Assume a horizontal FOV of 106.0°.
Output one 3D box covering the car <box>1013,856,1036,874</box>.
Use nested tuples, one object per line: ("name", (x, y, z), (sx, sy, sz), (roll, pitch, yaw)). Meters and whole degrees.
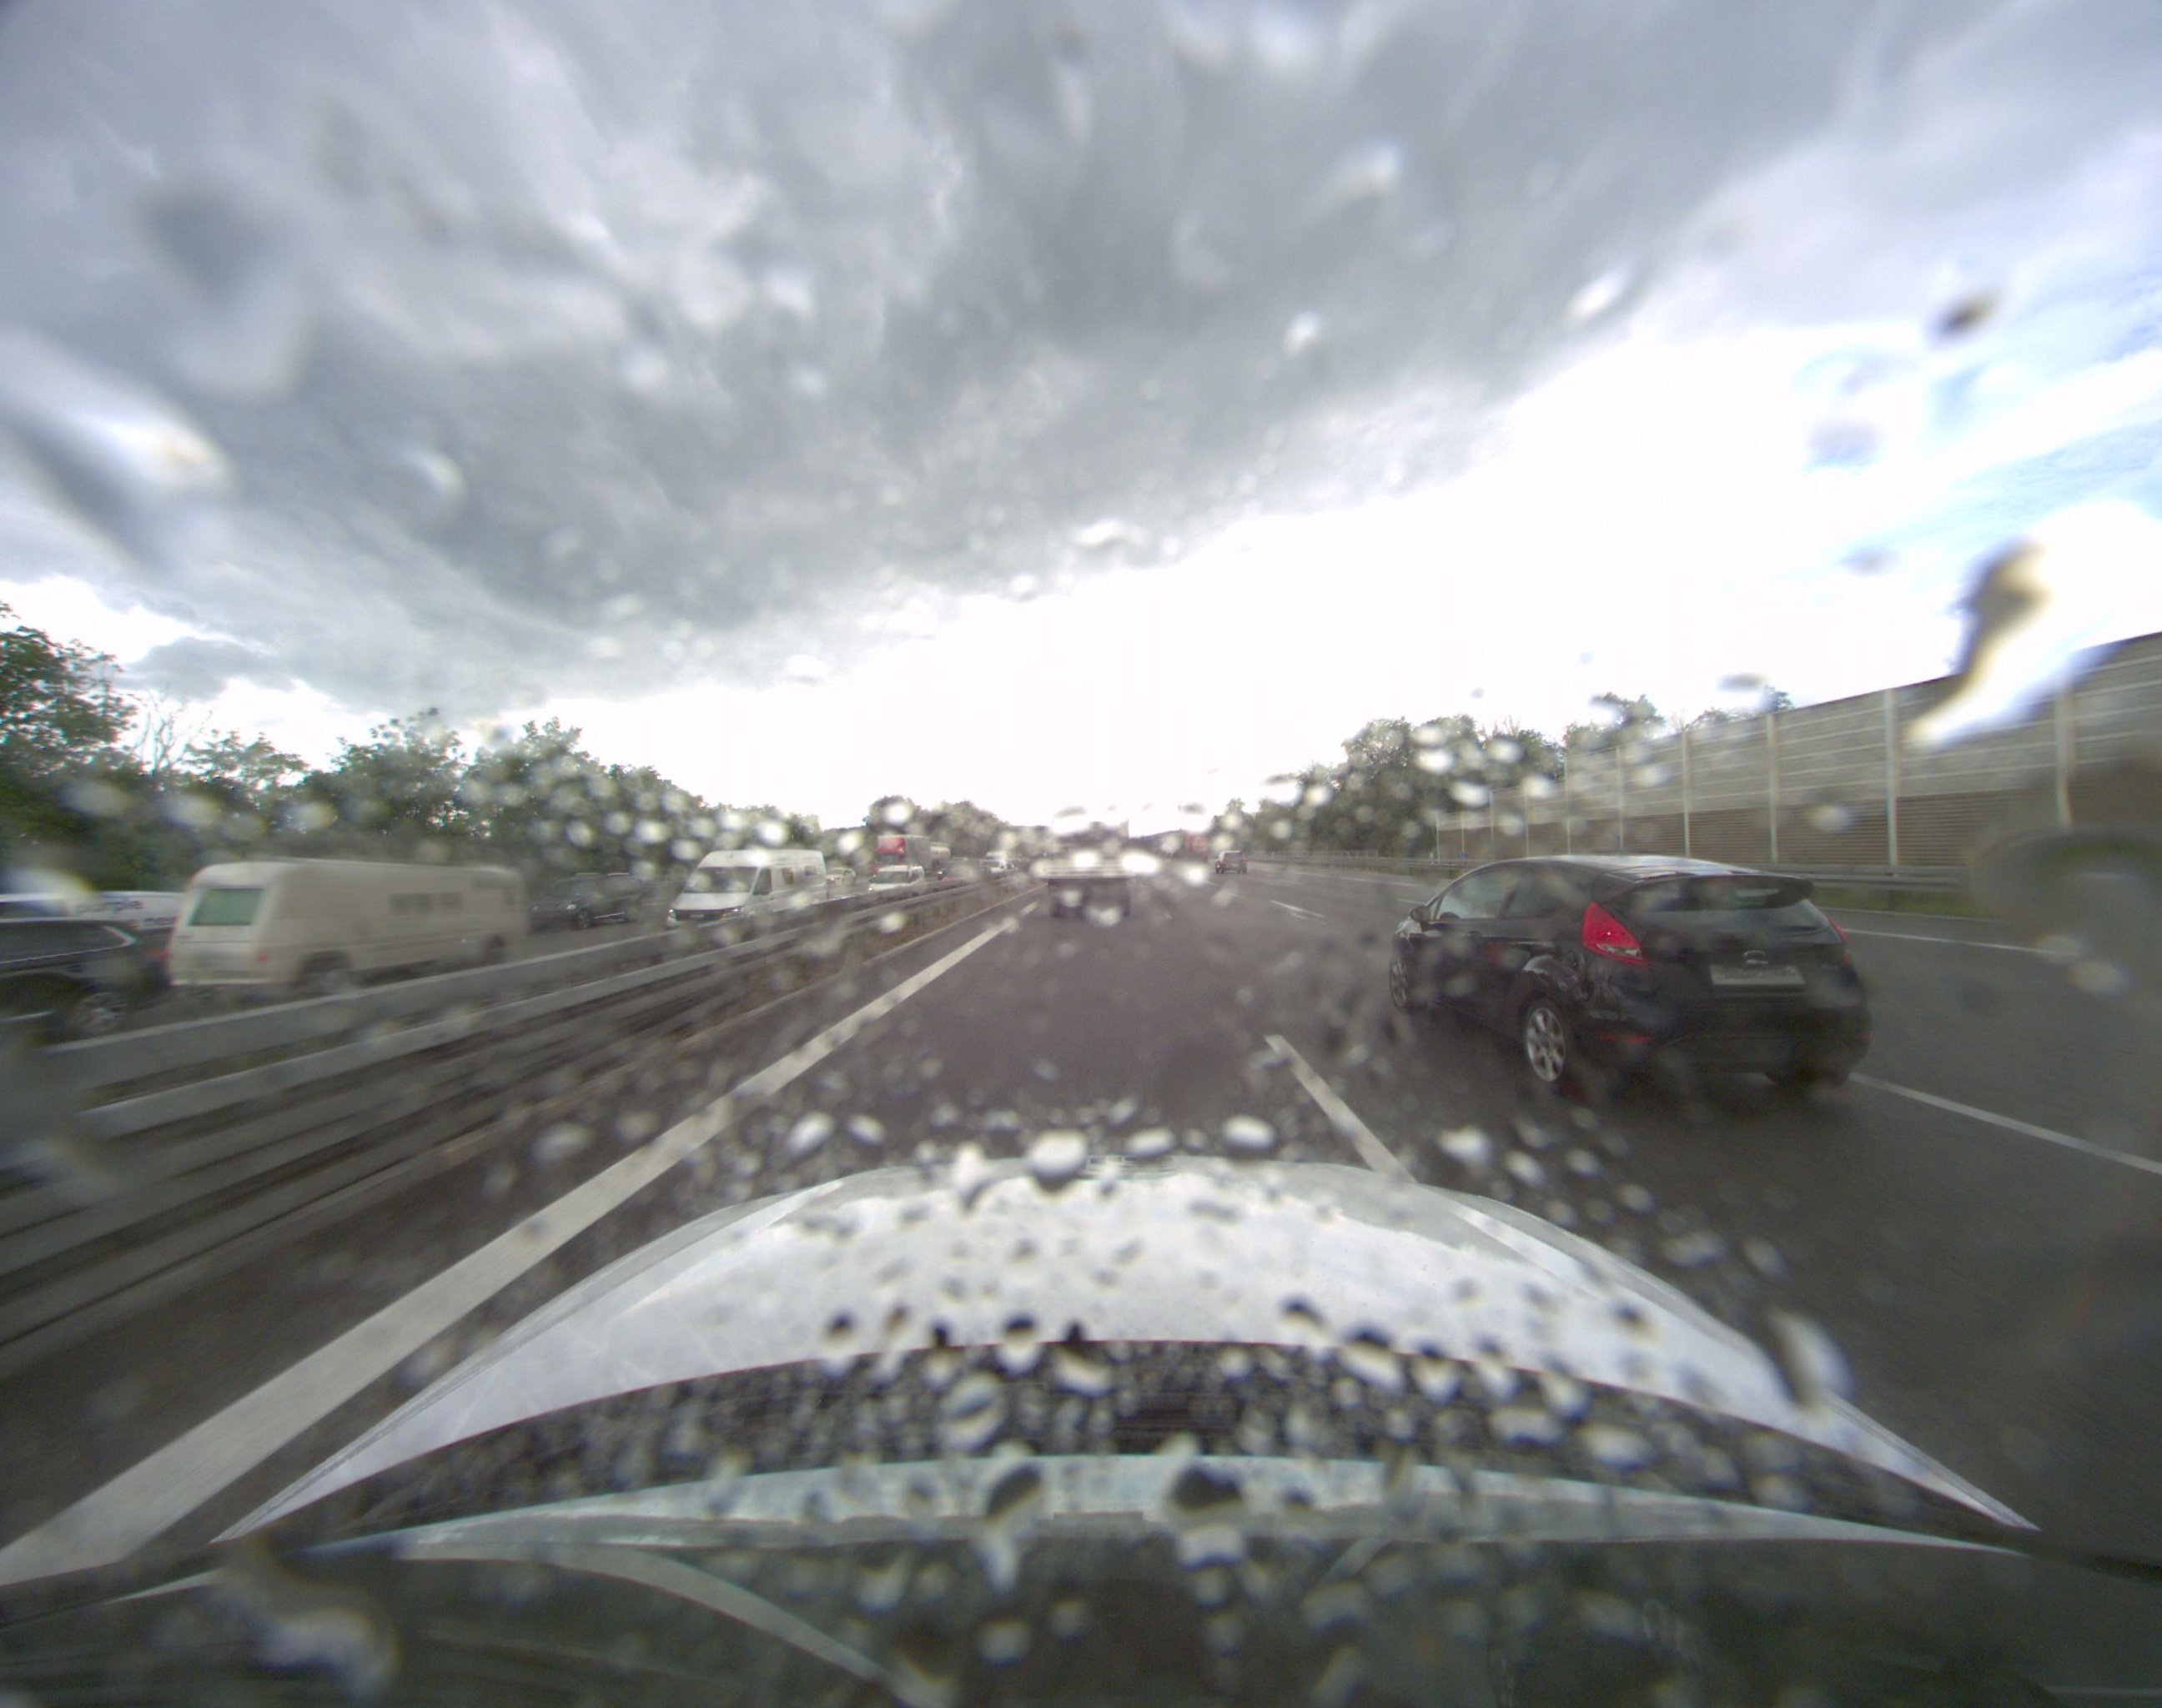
("car", (-6.102, 1.212, 88.561), (1.887, 1.800, 5.572), (-2, 0, 2))

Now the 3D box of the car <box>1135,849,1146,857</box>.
("car", (12.258, -0.240, 168.810), (1.962, 1.561, 4.432), (-2, 0, 0))

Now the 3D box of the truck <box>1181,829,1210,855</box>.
("truck", (16.315, -1.730, 116.953), (3.139, 3.601, 12.711), (0, 1, 3))

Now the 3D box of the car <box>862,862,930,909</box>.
("car", (-8.666, 1.431, 38.594), (1.811, 1.952, 5.225), (-2, 0, 2))

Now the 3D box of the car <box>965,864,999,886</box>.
("car", (-7.430, 1.546, 61.440), (1.887, 1.488, 4.479), (-2, 0, 2))

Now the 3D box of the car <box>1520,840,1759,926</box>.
("car", (10.729, 0.488, 16.104), (1.942, 1.418, 4.235), (-2, 0, 2))

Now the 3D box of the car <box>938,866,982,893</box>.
("car", (-7.505, 1.545, 50.774), (1.887, 1.460, 4.479), (-2, 0, 2))

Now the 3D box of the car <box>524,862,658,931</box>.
("car", (-16.927, 1.397, 28.450), (1.811, 2.077, 4.480), (-2, 0, 2))

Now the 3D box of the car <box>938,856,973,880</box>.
("car", (-10.920, 1.197, 71.238), (1.886, 1.962, 5.591), (-2, 0, 3))

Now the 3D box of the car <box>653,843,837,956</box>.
("car", (-9.307, 1.110, 23.563), (2.016, 2.678, 7.314), (-2, 0, 2))

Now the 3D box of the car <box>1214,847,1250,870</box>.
("car", (10.566, 0.302, 57.324), (1.875, 1.542, 4.436), (-2, 0, 3))

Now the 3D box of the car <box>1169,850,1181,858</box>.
("car", (20.158, 0.060, 174.907), (1.962, 1.561, 4.431), (-2, 0, -1))

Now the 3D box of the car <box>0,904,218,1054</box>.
("car", (-14.045, 1.604, 10.079), (1.811, 1.677, 4.481), (-1, 0, 3))

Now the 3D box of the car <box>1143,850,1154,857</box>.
("car", (15.390, -0.045, 185.442), (1.963, 1.561, 4.430), (-2, 0, -2))

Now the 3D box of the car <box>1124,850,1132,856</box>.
("car", (13.004, -0.303, 226.836), (1.962, 1.561, 4.432), (-2, 0, 0))

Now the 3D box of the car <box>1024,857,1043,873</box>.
("car", (-5.694, 1.250, 98.136), (1.887, 1.800, 4.598), (-2, 0, 2))

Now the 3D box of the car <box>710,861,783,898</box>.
("car", (-19.719, 1.450, 48.281), (1.886, 1.912, 5.142), (-2, 0, 3))

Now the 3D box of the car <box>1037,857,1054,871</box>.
("car", (-4.923, 1.362, 113.532), (1.886, 1.800, 4.599), (-2, 0, 3))

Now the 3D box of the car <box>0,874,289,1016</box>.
("car", (-17.738, 1.507, 14.890), (1.975, 2.077, 4.479), (-2, 0, 2))

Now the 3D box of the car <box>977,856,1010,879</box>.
("car", (-7.364, 1.119, 69.125), (1.887, 1.800, 5.844), (-2, 0, 2))

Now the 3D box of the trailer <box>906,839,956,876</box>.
("trailer", (-17.869, 0.363, 98.374), (2.996, 4.032, 13.146), (-2, 0, 2))

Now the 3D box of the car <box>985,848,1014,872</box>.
("car", (-9.710, 0.713, 97.323), (2.118, 2.636, 7.616), (-2, 0, 4))

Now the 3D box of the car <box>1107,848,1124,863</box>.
("car", (3.897, 0.138, 91.418), (1.711, 1.624, 4.279), (-1, 1, 0))

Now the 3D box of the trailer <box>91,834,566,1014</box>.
("trailer", (-13.747, 1.061, 15.996), (2.332, 2.653, 7.188), (-2, 0, 3))

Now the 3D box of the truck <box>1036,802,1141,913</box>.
("truck", (0.228, 0.120, 21.841), (2.299, 2.440, 7.148), (-1, -1, 1))

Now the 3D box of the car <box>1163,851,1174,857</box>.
("car", (21.297, -0.012, 197.914), (1.962, 1.561, 4.431), (-2, 0, -1))

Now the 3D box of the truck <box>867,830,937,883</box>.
("truck", (-15.426, 0.178, 71.273), (2.787, 4.112, 12.301), (-2, 0, 2))

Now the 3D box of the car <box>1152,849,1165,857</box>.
("car", (15.447, -0.158, 162.580), (1.962, 1.561, 4.431), (-2, 0, -1))

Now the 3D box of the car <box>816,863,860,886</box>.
("car", (-19.309, 1.620, 64.913), (1.887, 1.593, 4.904), (-2, 0, 2))

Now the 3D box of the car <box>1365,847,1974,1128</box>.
("car", (3.738, 0.693, 6.290), (1.711, 1.417, 4.280), (-1, 0, 2))

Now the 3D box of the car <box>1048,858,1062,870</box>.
("car", (-4.095, 1.552, 129.633), (1.886, 1.800, 4.599), (-2, 0, 3))
